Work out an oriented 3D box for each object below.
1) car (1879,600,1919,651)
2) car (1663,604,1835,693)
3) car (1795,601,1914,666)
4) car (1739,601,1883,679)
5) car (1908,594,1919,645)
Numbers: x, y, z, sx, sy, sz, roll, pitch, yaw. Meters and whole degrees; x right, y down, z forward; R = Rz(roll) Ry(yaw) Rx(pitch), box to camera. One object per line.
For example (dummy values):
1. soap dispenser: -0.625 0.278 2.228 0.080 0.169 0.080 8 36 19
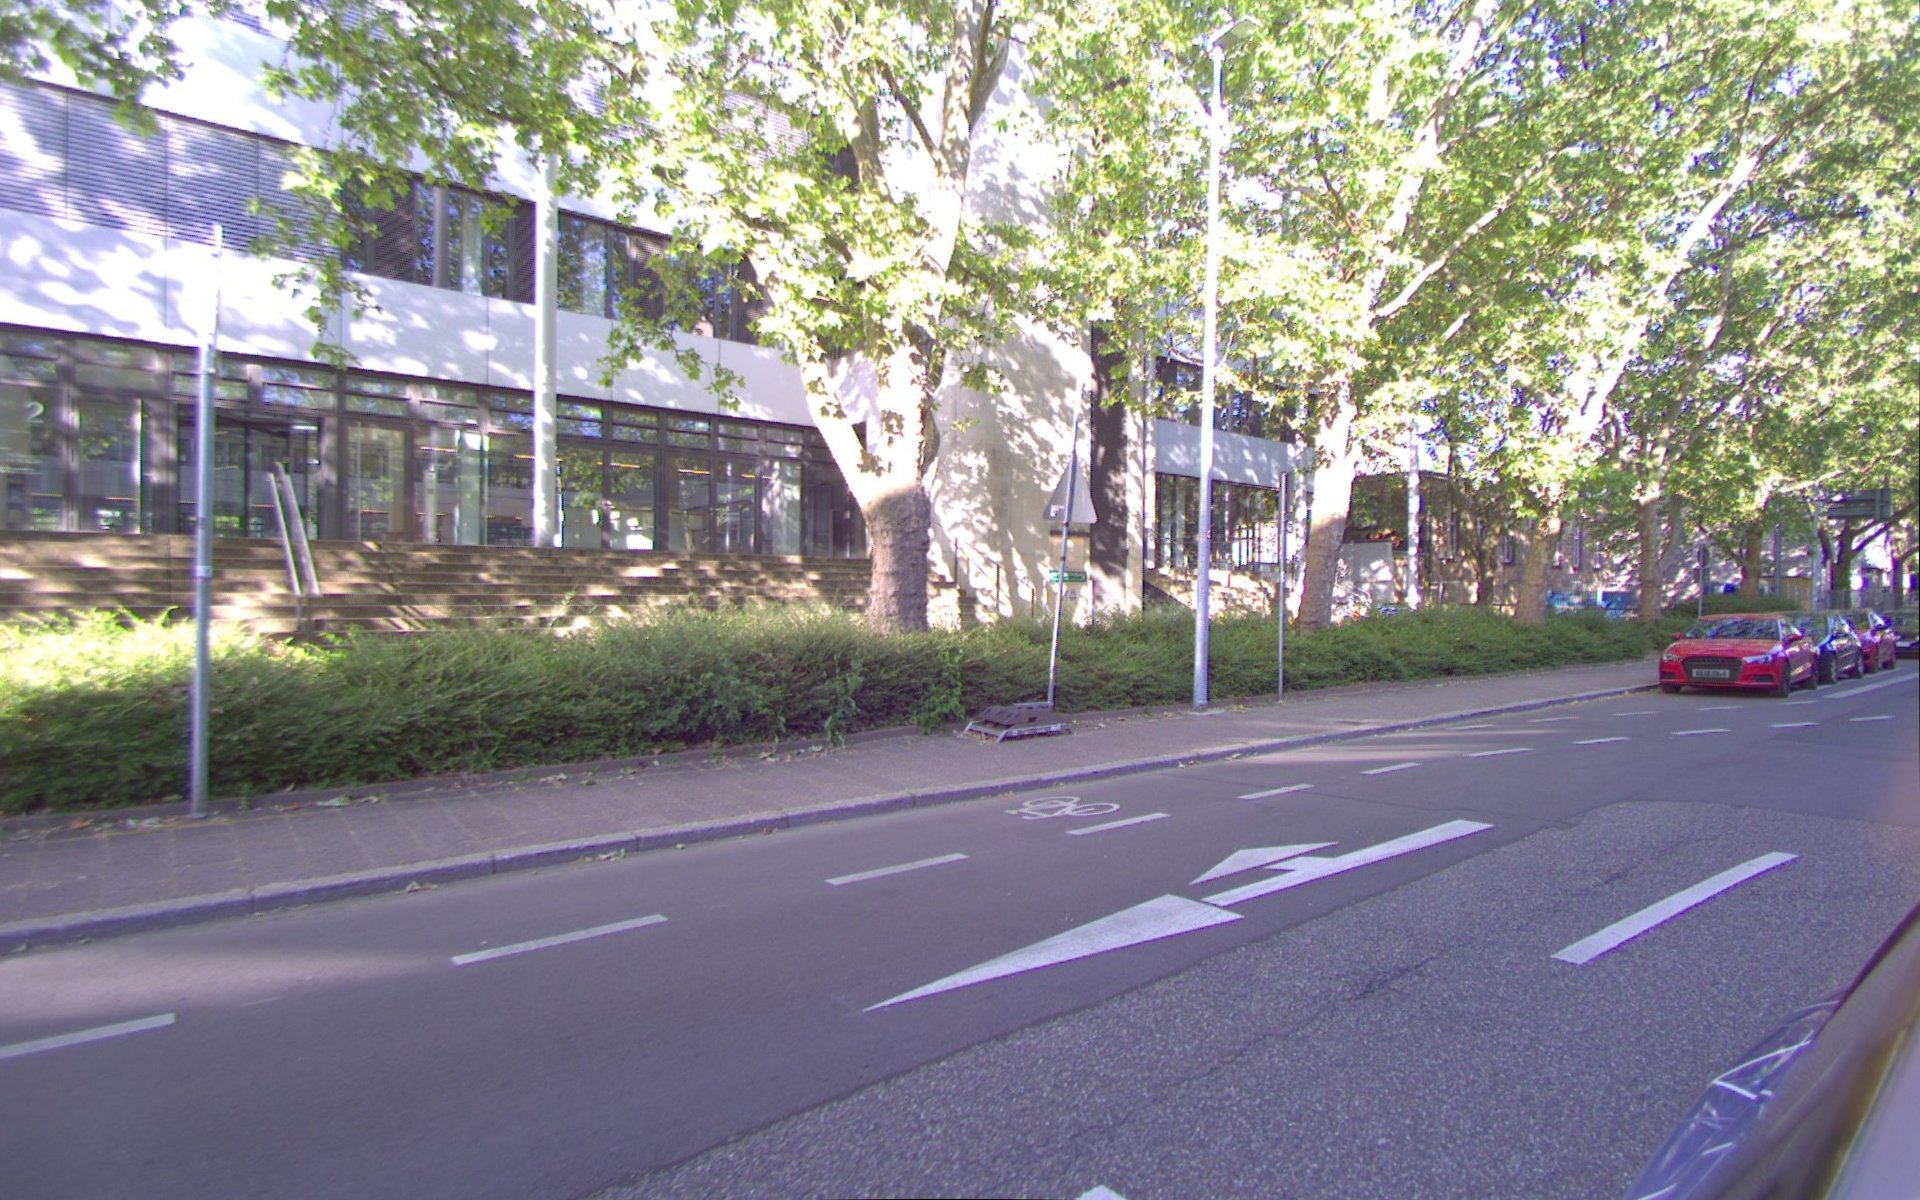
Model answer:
1. car: 29.375 0.757 30.738 3.929 1.469 1.685 0 0 -40
2. car: 14.402 0.815 18.409 3.961 1.439 1.722 0 -2 -41
3. car: 21.872 0.757 24.704 3.714 1.452 1.665 0 0 -40
4. car: 18.016 0.774 21.375 3.929 1.486 1.685 0 -1 -40
5. car: 32.924 0.636 33.632 3.769 1.640 1.685 0 0 -40
